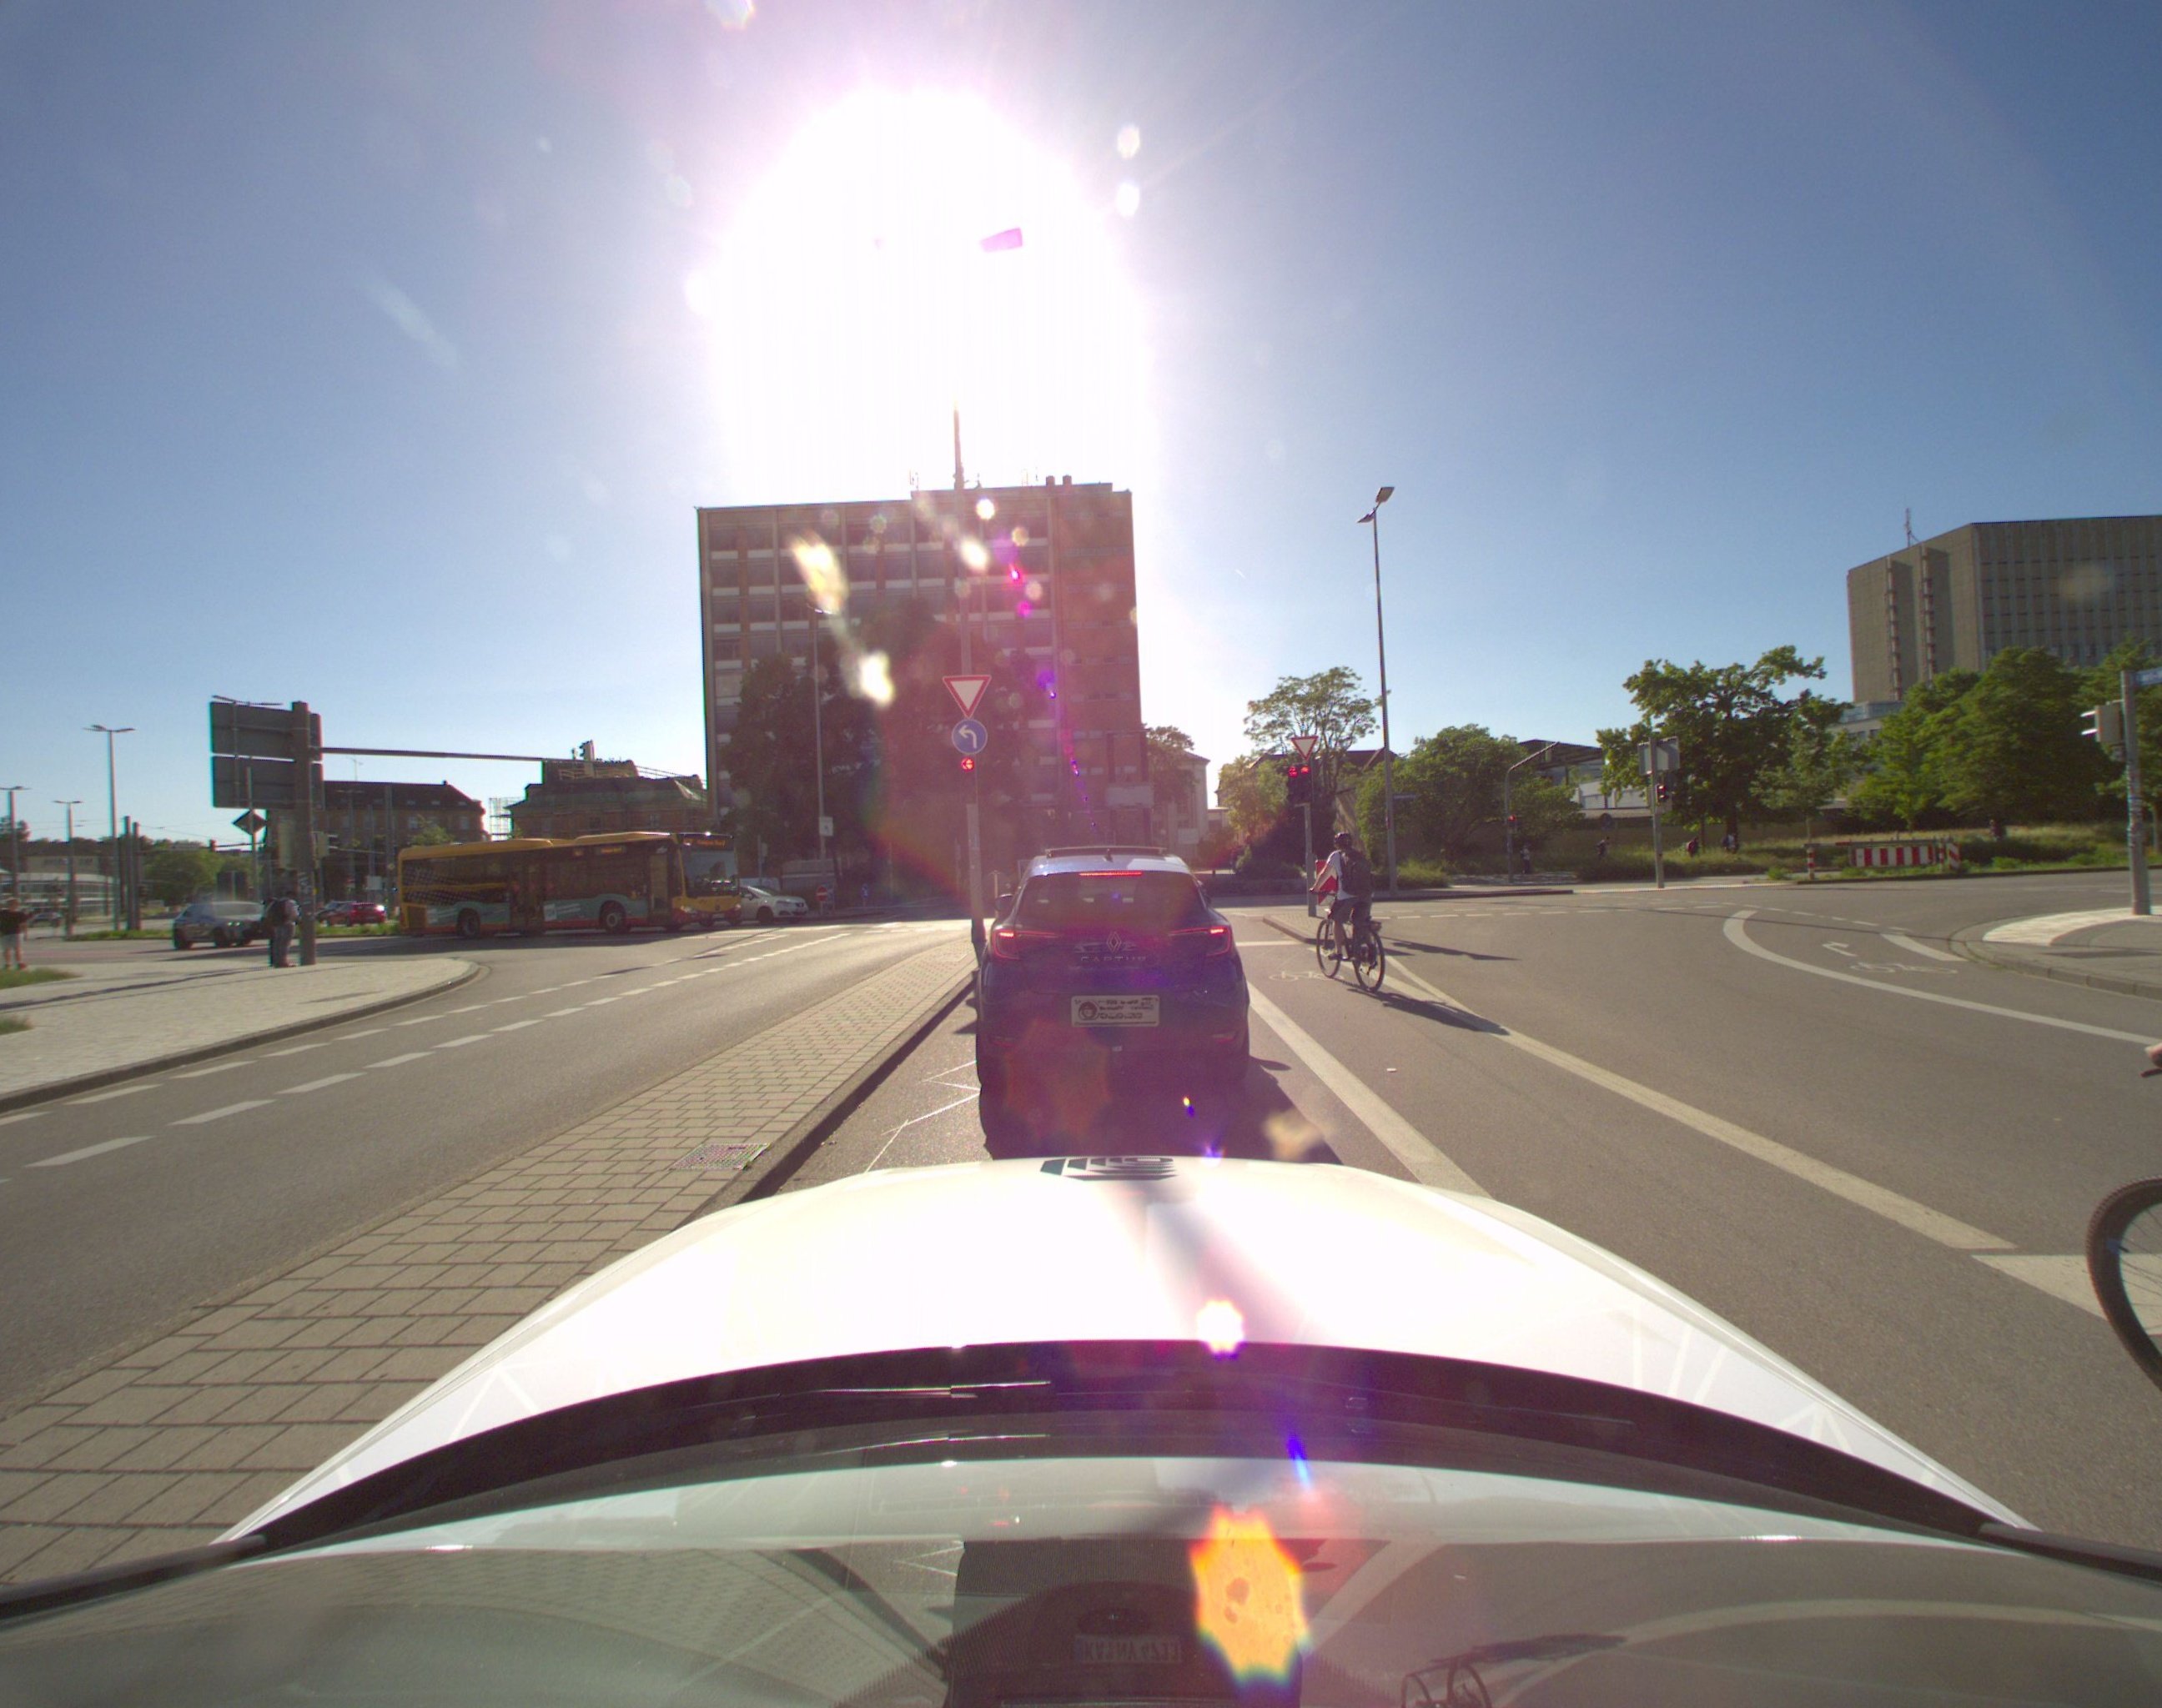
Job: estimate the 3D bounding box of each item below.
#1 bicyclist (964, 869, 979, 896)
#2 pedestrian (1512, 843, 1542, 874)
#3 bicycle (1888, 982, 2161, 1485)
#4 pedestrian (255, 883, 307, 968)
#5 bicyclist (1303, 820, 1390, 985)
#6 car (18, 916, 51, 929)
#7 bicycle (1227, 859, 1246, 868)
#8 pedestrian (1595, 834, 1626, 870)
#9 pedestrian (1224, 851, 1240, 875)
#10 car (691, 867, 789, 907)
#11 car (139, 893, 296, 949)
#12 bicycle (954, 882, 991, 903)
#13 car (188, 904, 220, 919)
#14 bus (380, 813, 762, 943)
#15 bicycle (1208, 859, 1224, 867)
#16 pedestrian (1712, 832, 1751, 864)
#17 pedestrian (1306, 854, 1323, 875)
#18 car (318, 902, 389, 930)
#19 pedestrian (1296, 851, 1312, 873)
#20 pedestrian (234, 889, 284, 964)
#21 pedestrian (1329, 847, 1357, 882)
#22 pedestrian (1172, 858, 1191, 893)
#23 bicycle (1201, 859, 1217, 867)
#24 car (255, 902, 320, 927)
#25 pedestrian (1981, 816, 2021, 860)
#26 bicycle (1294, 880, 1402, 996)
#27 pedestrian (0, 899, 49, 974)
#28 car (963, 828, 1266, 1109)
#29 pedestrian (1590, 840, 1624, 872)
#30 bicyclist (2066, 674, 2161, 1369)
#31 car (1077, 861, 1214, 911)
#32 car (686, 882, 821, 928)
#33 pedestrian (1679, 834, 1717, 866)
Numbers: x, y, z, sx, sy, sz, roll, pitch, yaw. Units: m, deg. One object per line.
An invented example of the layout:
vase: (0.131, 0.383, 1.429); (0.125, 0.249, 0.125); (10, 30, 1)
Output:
bicyclist: (-5.909, 1.549, 44.027); (0.634, 1.412, 0.649); (-3, -3, 0)
pedestrian: (22.686, 0.236, 41.431); (1.078, 1.521, 0.933); (-2, -1, 11)
bicycle: (2.806, 0.918, 1.579); (0.669, 1.050, 1.844); (0, 0, 1)
pedestrian: (-18.131, 1.598, 18.464); (0.673, 1.855, 0.608); (-3, -1, 25)
bicyclist: (3.016, 0.535, 9.320); (0.674, 1.785, 0.939); (-1, -1, 0)
car: (-126.111, 8.194, 98.103); (3.948, 1.389, 2.013); (-3, -1, 32)
bicycle: (15.816, 0.949, 82.832); (1.770, 0.823, 0.763); (-2, -1, -9)
pedestrian: (26.835, -0.097, 41.285); (0.958, 1.732, 0.927); (-2, -1, 7)
pedestrian: (13.089, 0.747, 70.719); (1.152, 2.013, 1.165); (-2, -1, 2)
car: (-19.019, 1.843, 45.428); (4.954, 2.013, 2.084); (-3, -1, 23)
car: (-33.038, 2.556, 31.205); (4.693, 1.861, 2.012); (-3, -1, 14)
bicycle: (-5.874, 2.100, 43.988); (1.856, 1.007, 0.700); (-4, -3, -1)
car: (-106.682, 7.022, 99.084); (3.948, 1.582, 2.013); (-1, -1, 33)
bus: (-16.742, 0.866, 26.603); (12.323, 3.570, 3.265); (-3, -1, 18)
bicycle: (15.707, 1.059, 94.643); (1.764, 0.898, 0.766); (-2, -1, 2)
pedestrian: (32.514, -0.281, 40.705); (1.123, 1.521, 0.992); (-2, -1, 5)
pedestrian: (18.510, 0.827, 64.575); (0.932, 1.613, 1.176); (-2, -1, 2)
car: (-44.501, 3.779, 49.810); (3.771, 1.518, 2.012); (-3, -1, 27)
pedestrian: (17.868, 0.626, 65.162); (0.949, 1.741, 0.984); (-2, -1, 2)
pedestrian: (-19.254, 1.693, 19.089); (0.627, 1.697, 0.608); (-3, -1, 25)
pedestrian: (14.209, 0.564, 44.245); (1.288, 1.855, 0.969); (-3, -1, 13)
pedestrian: (5.661, 1.197, 45.653); (0.926, 1.855, 0.809); (-3, -1, 11)
bicycle: (15.562, 1.113, 99.014); (1.764, 0.893, 0.766); (-2, -1, 2)
car: (-53.469, 4.085, 54.862); (3.771, 1.518, 2.012); (-3, -1, 27)
pedestrian: (44.932, -0.790, 39.778); (0.891, 2.079, 0.814); (-2, -1, 5)
bicycle: (2.996, 0.893, 9.323); (0.613, 1.138, 1.826); (-2, 0, 0)
pedestrian: (-27.488, 2.110, 21.007); (0.856, 1.845, 0.847); (-3, -1, 25)
car: (0.231, 0.684, 6.797); (1.788, 1.655, 3.853); (-1, 0, 1)
pedestrian: (25.954, 0.084, 40.181); (1.069, 1.521, 0.880); (-2, -1, 6)
bicyclist: (2.790, 0.380, 1.485); (0.672, 1.583, 1.081); (0, 0, 1)
car: (2.002, 0.999, 24.742); (3.816, 1.403, 1.899); (-2, -3, 15)
car: (-11.257, 1.741, 28.051); (3.958, 1.373, 1.766); (-3, 0, 14)
pedestrian: (30.496, -0.174, 40.280); (1.140, 1.521, 0.944); (-2, -1, 7)
